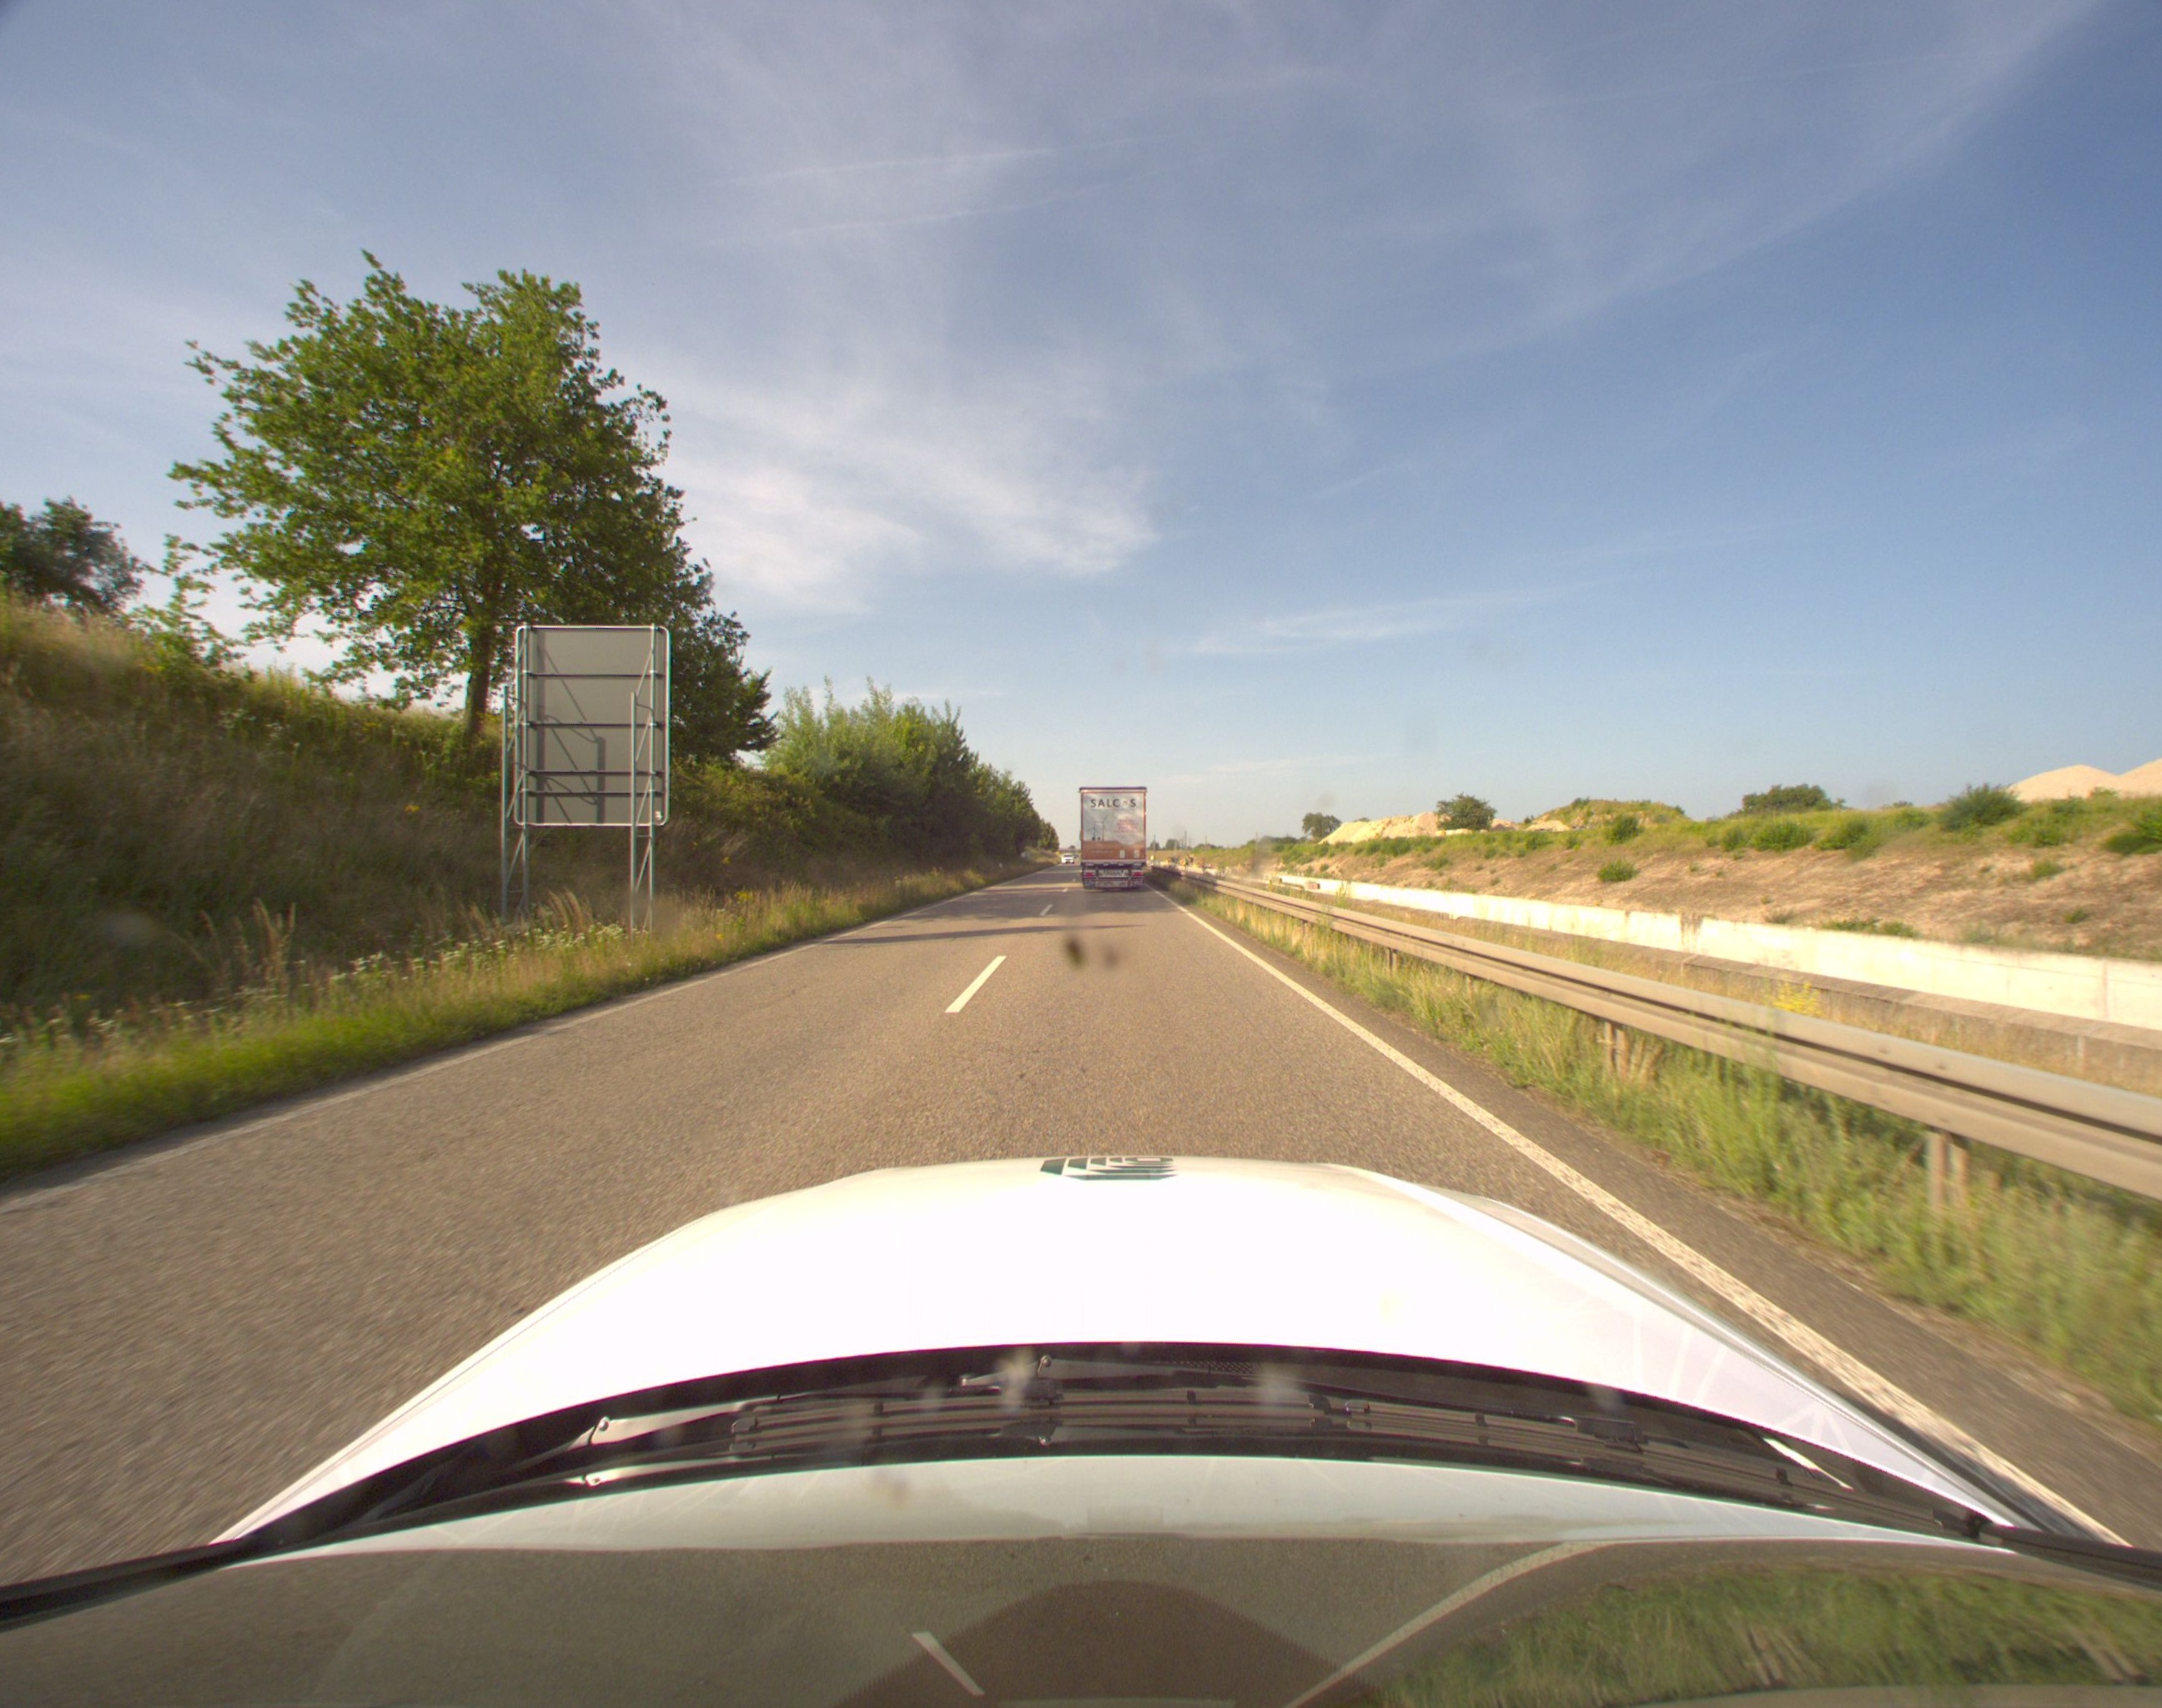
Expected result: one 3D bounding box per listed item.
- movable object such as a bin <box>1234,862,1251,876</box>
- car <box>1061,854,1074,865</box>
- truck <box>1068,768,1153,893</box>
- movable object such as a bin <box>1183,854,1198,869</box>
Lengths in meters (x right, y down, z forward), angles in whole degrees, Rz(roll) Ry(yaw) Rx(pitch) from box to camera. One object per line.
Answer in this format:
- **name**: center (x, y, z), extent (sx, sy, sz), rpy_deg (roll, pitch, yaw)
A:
- **movable object such as a bin**: center (32.333, 2.947, 163.293), extent (2.877, 2.661, 2.031), rpy_deg (0, 0, 25)
- **car**: center (-1.945, 0.723, 118.901), extent (1.738, 1.564, 4.366), rpy_deg (0, 0, 1)
- **truck**: center (1.177, -0.886, 35.187), extent (3.142, 4.688, 8.441), rpy_deg (-1, 0, 1)
- **movable object such as a bin**: center (28.200, 1.928, 210.296), extent (2.788, 3.886, 7.535), rpy_deg (0, 0, -1)
